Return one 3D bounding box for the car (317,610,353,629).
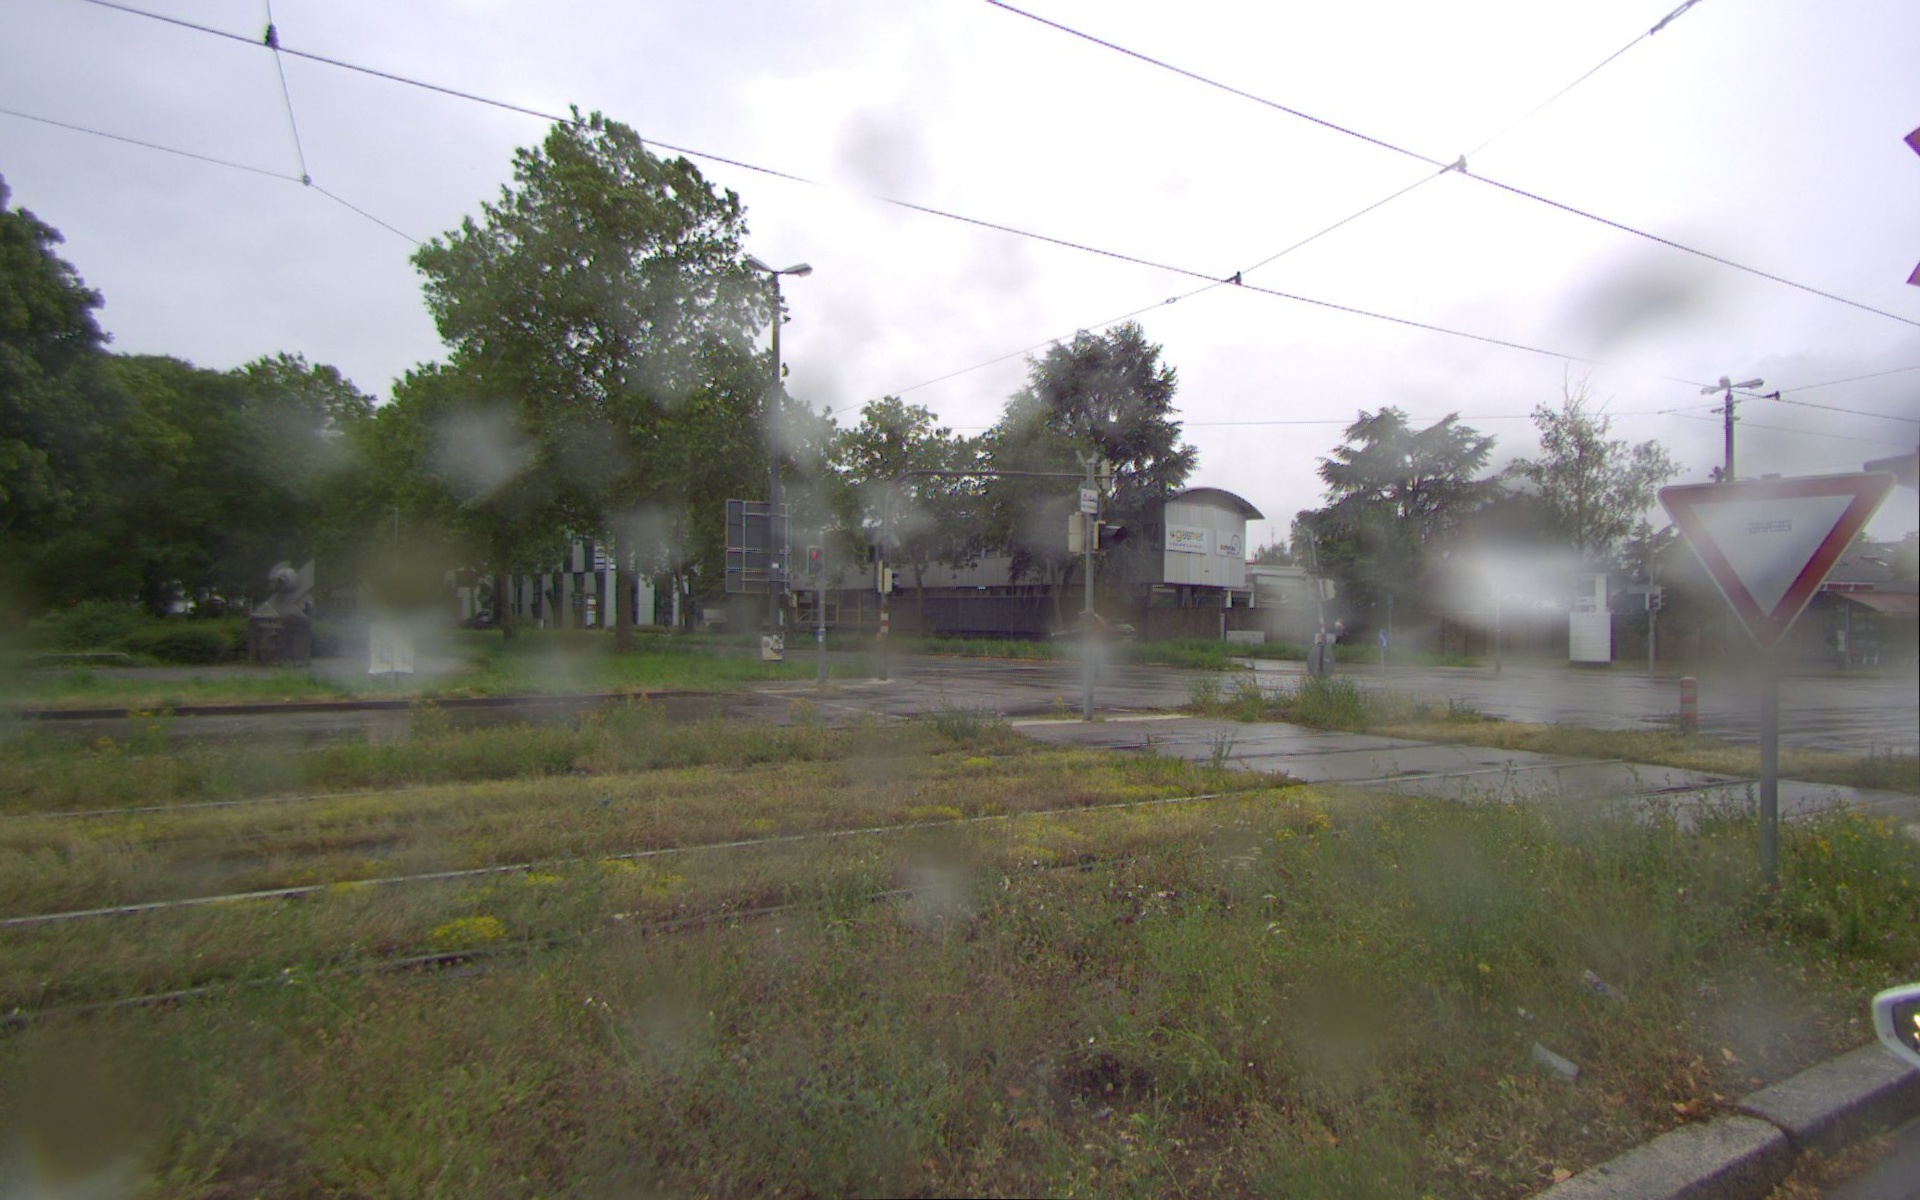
[{"bbox_3d":[-75.181,2.375,120.812,3.932,2.116,2.123,2,0,33],"label":"car"}]

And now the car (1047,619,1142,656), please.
[{"bbox_3d":[5.881,1.612,44.194,1.679,1.417,4.087,2,0,-39],"label":"car"}]

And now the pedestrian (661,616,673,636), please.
[{"bbox_3d":[-26.439,2.344,90.562,0.668,1.690,0.814,2,0,-44],"label":"pedestrian"}]

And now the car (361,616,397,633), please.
[{"bbox_3d":[-65.882,2.769,113.873,3.934,1.806,1.993,2,0,36],"label":"car"}]

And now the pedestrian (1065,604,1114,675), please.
[{"bbox_3d":[3.809,1.149,29.525,0.998,2.017,0.945,2,0,-34],"label":"pedestrian"}]

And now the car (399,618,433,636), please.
[{"bbox_3d":[-59.763,2.996,110.250,3.940,1.806,1.990,2,0,41],"label":"car"}]

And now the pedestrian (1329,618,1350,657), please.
[{"bbox_3d":[18.206,1.770,48.198,0.870,1.821,0.726,2,1,26],"label":"pedestrian"}]

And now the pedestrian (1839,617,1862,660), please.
[{"bbox_3d":[43.204,1.870,48.730,0.714,2.040,0.791,2,0,38],"label":"pedestrian"}]
